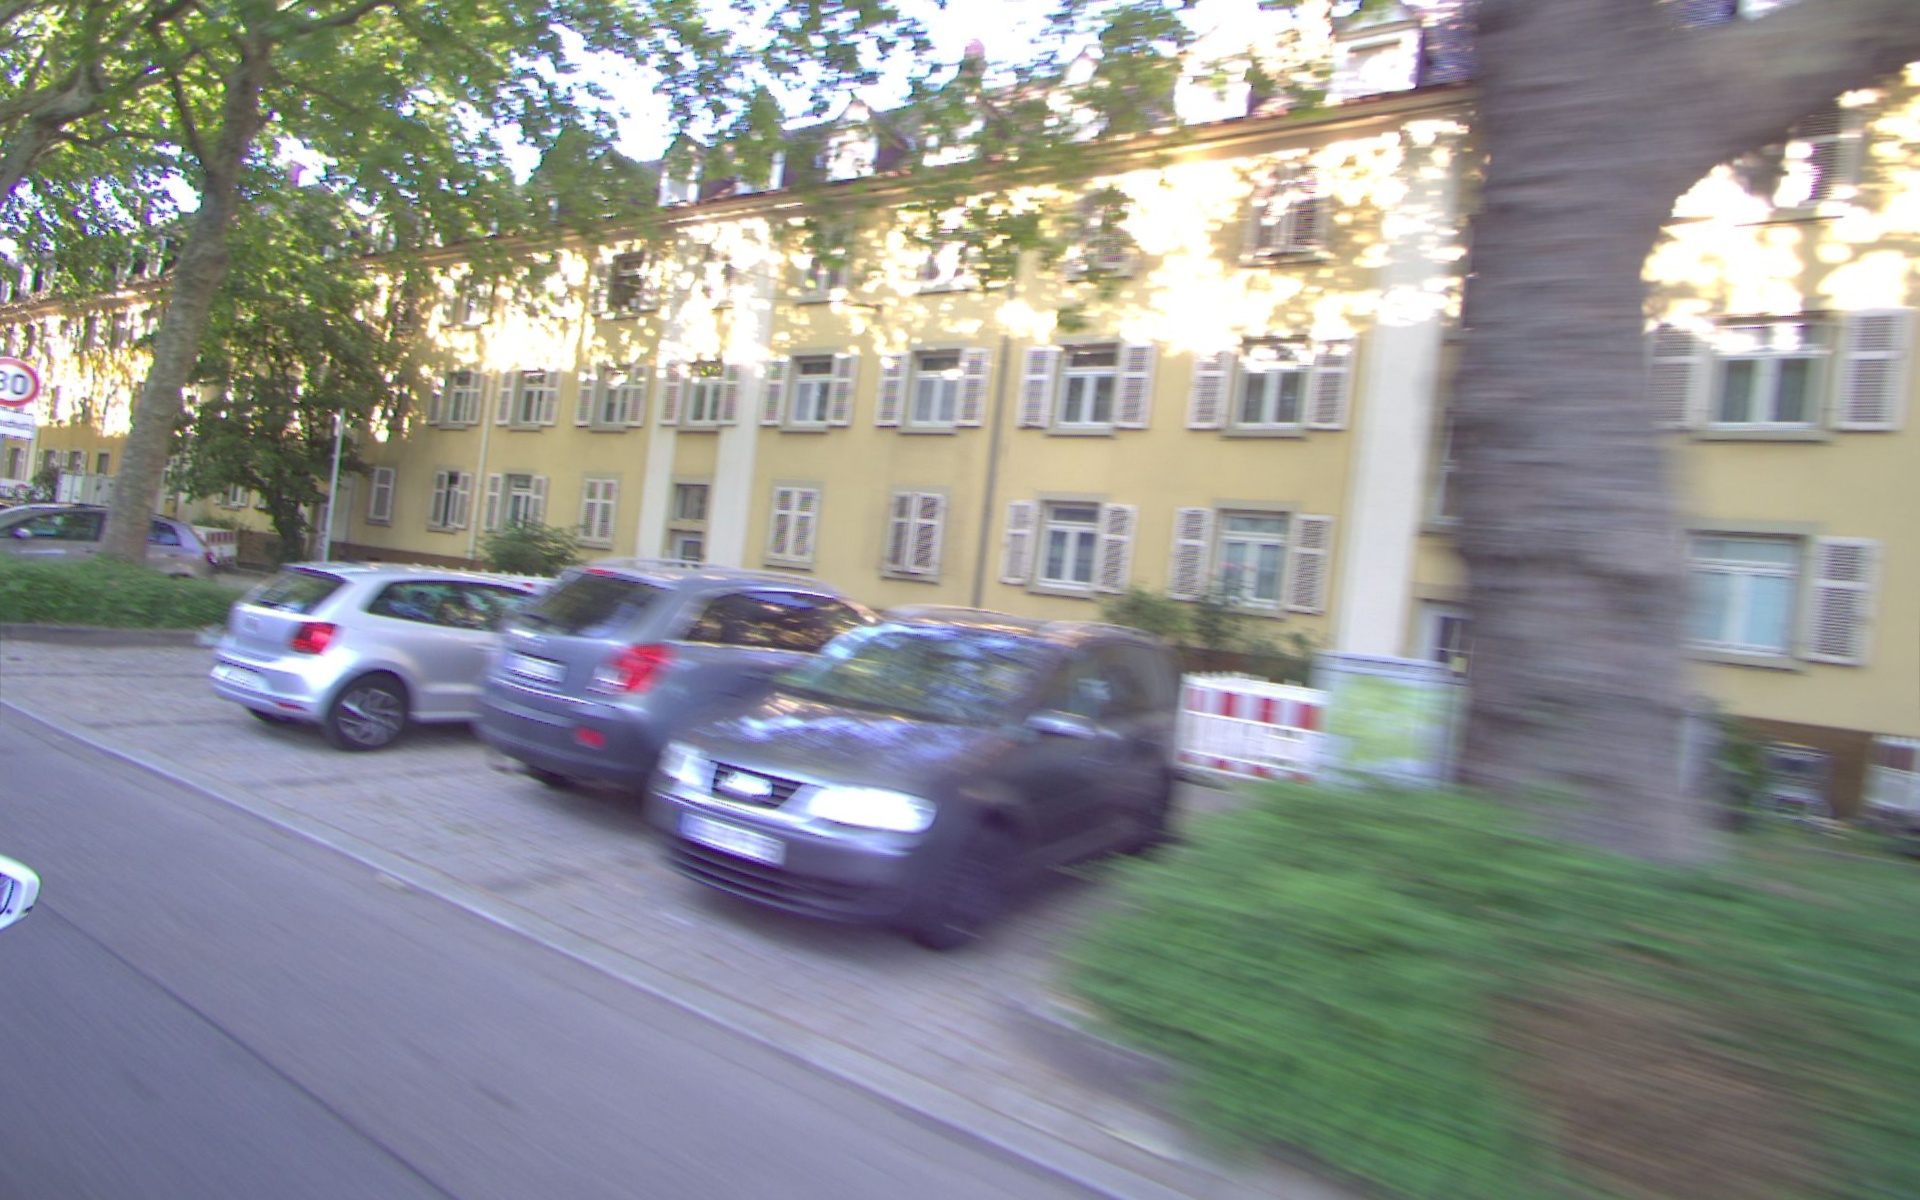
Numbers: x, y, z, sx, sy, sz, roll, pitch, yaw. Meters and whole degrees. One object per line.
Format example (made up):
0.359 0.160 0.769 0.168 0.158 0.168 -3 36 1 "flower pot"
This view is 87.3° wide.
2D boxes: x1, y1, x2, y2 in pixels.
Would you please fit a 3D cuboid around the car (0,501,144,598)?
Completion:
-16.171 -0.927 16.690 1.707 1.445 3.658 7 1 28 "car"

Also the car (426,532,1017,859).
-1.526 0.622 7.935 1.811 1.753 4.307 7 1 35 "car"

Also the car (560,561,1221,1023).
0.031 0.854 6.331 1.876 1.678 4.430 7 0 30 "car"

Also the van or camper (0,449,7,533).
-25.417 -2.561 22.189 2.234 2.661 5.930 6 -1 33 "van or camper"

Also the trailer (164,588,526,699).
-6.560 0.486 10.948 1.415 0.915 3.037 7 1 38 "trailer"

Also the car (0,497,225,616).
-14.031 -0.712 15.368 1.800 1.569 4.080 7 0 31 "car"

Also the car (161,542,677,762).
-4.685 0.445 9.201 1.835 1.442 3.653 7 1 32 "car"
